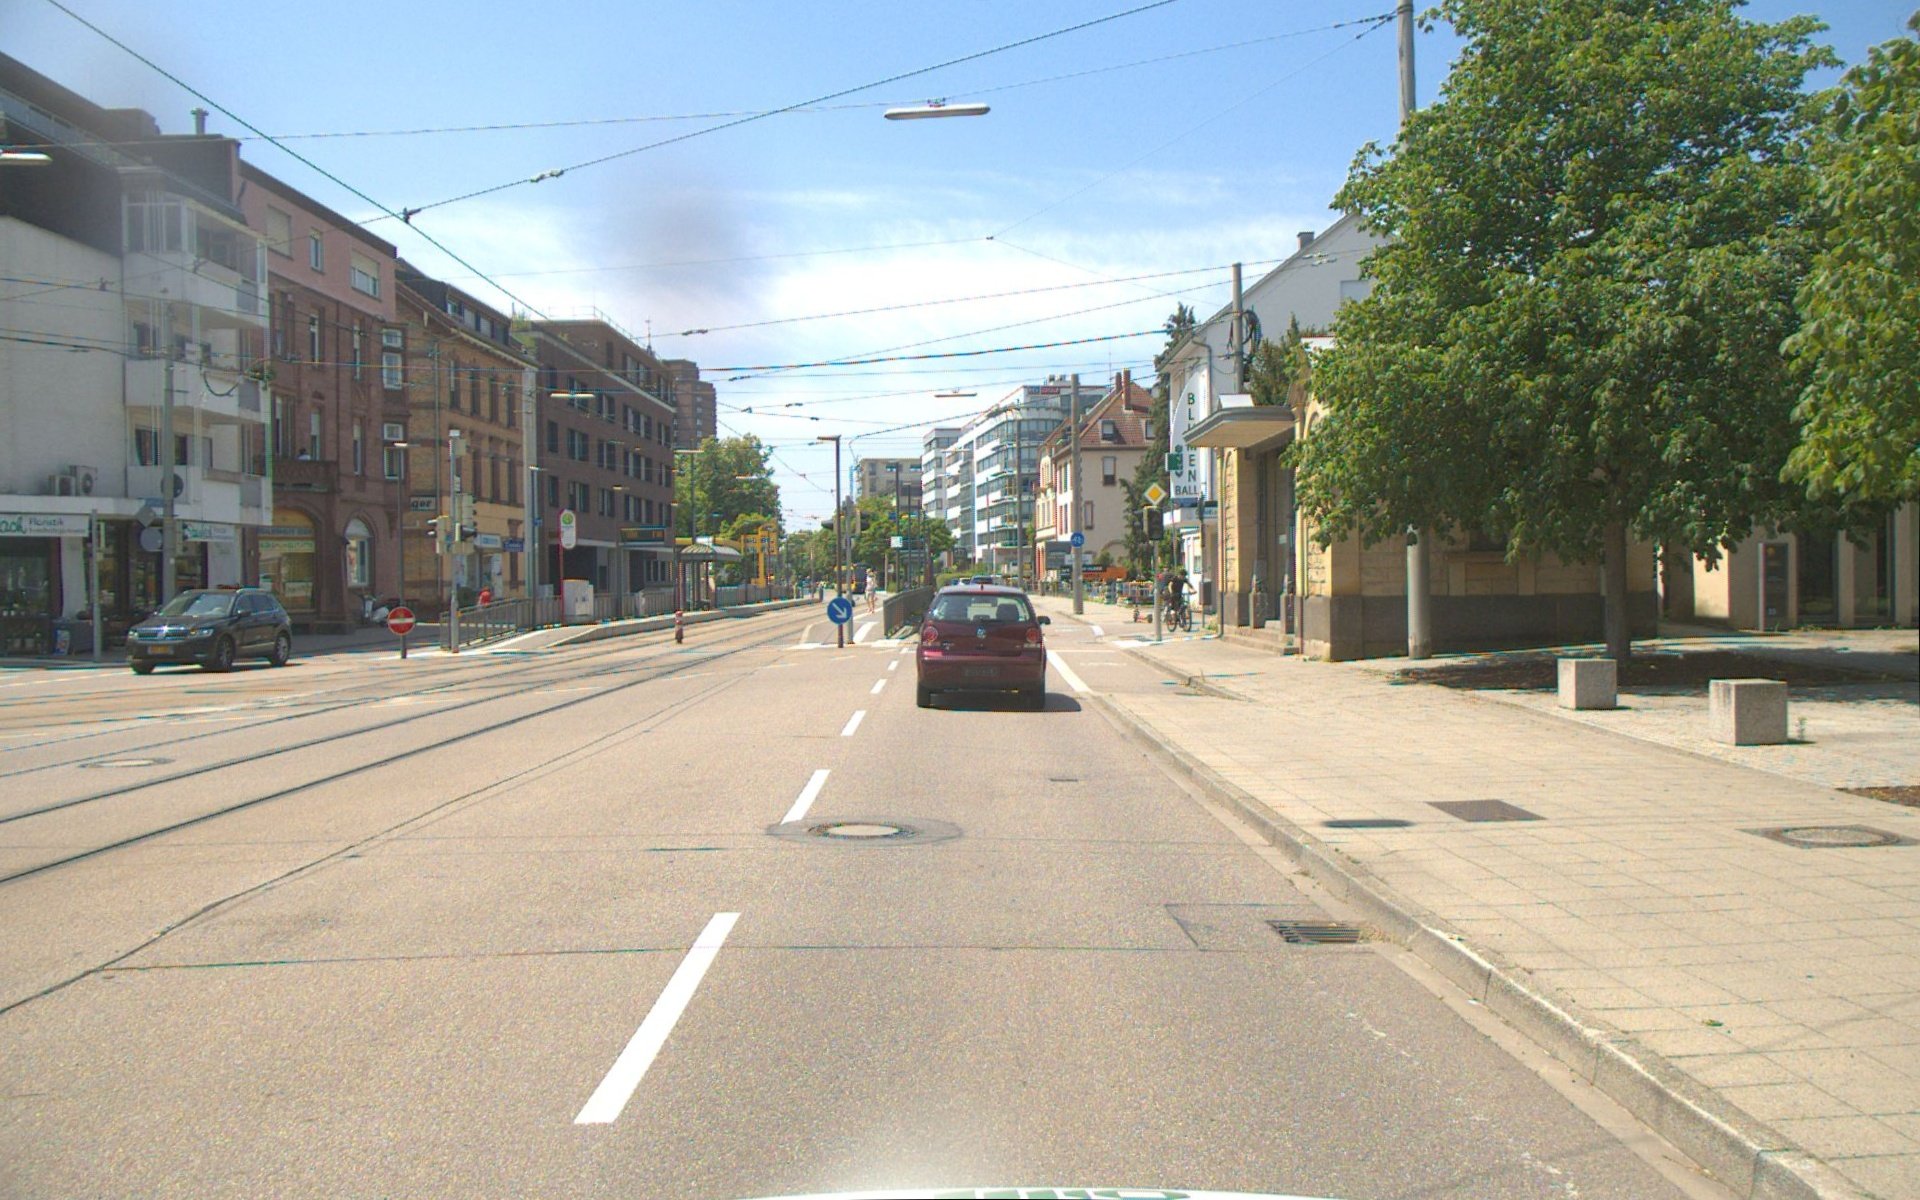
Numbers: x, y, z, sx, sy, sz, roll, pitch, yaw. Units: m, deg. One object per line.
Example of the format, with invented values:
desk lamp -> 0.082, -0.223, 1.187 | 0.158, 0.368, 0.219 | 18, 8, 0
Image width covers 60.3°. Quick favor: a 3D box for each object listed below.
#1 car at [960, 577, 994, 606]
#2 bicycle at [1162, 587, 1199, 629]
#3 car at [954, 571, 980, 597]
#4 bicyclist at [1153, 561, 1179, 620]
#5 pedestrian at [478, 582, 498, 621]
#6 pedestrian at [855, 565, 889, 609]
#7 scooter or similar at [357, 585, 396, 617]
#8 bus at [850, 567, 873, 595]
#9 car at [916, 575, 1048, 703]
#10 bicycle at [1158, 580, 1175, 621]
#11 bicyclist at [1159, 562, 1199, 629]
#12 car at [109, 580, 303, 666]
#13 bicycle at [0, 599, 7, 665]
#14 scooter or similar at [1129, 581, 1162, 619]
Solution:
car -> 1.026, -0.536, 101.042 | 1.953, 1.653, 4.631 | -1, 1, -1
bicycle -> 5.719, 0.196, 42.984 | 0.655, 1.020, 1.864 | -5, 1, 1
car -> 0.525, -1.238, 127.612 | 1.953, 1.881, 4.000 | -1, 1, 0
bicyclist -> 6.337, -0.309, 50.939 | 0.711, 1.791, 0.925 | -1, 1, 11
pedestrian -> -19.605, 0.044, 68.710 | 0.602, 1.588, 0.640 | -1, 1, 0
pedestrian -> -3.409, -0.520, 64.424 | 0.753, 1.704, 1.092 | 0, 0, 45
scooter or similar -> -21.178, 0.036, 60.037 | 0.477, 1.101, 1.578 | -1, 1, 17
bus -> -11.378, -2.184, 190.942 | 2.104, 3.055, 6.563 | -1, 1, -7
car -> 0.248, 0.445, 21.001 | 1.529, 1.479, 3.061 | -1, 1, -1
bicycle -> 6.355, -0.002, 50.880 | 0.367, 1.218, 1.907 | -1, 1, 11
bicyclist -> 5.688, -0.128, 43.029 | 0.815, 1.646, 0.860 | -5, 1, 1
car -> -15.385, 0.419, 34.045 | 1.756, 1.607, 4.496 | -1, 1, 2
bicycle -> -20.274, 0.680, 33.037 | 0.663, 1.327, 2.103 | -1, 1, 27
scooter or similar -> 5.855, -0.009, 52.270 | 0.335, 1.198, 1.457 | -1, 0, -23
